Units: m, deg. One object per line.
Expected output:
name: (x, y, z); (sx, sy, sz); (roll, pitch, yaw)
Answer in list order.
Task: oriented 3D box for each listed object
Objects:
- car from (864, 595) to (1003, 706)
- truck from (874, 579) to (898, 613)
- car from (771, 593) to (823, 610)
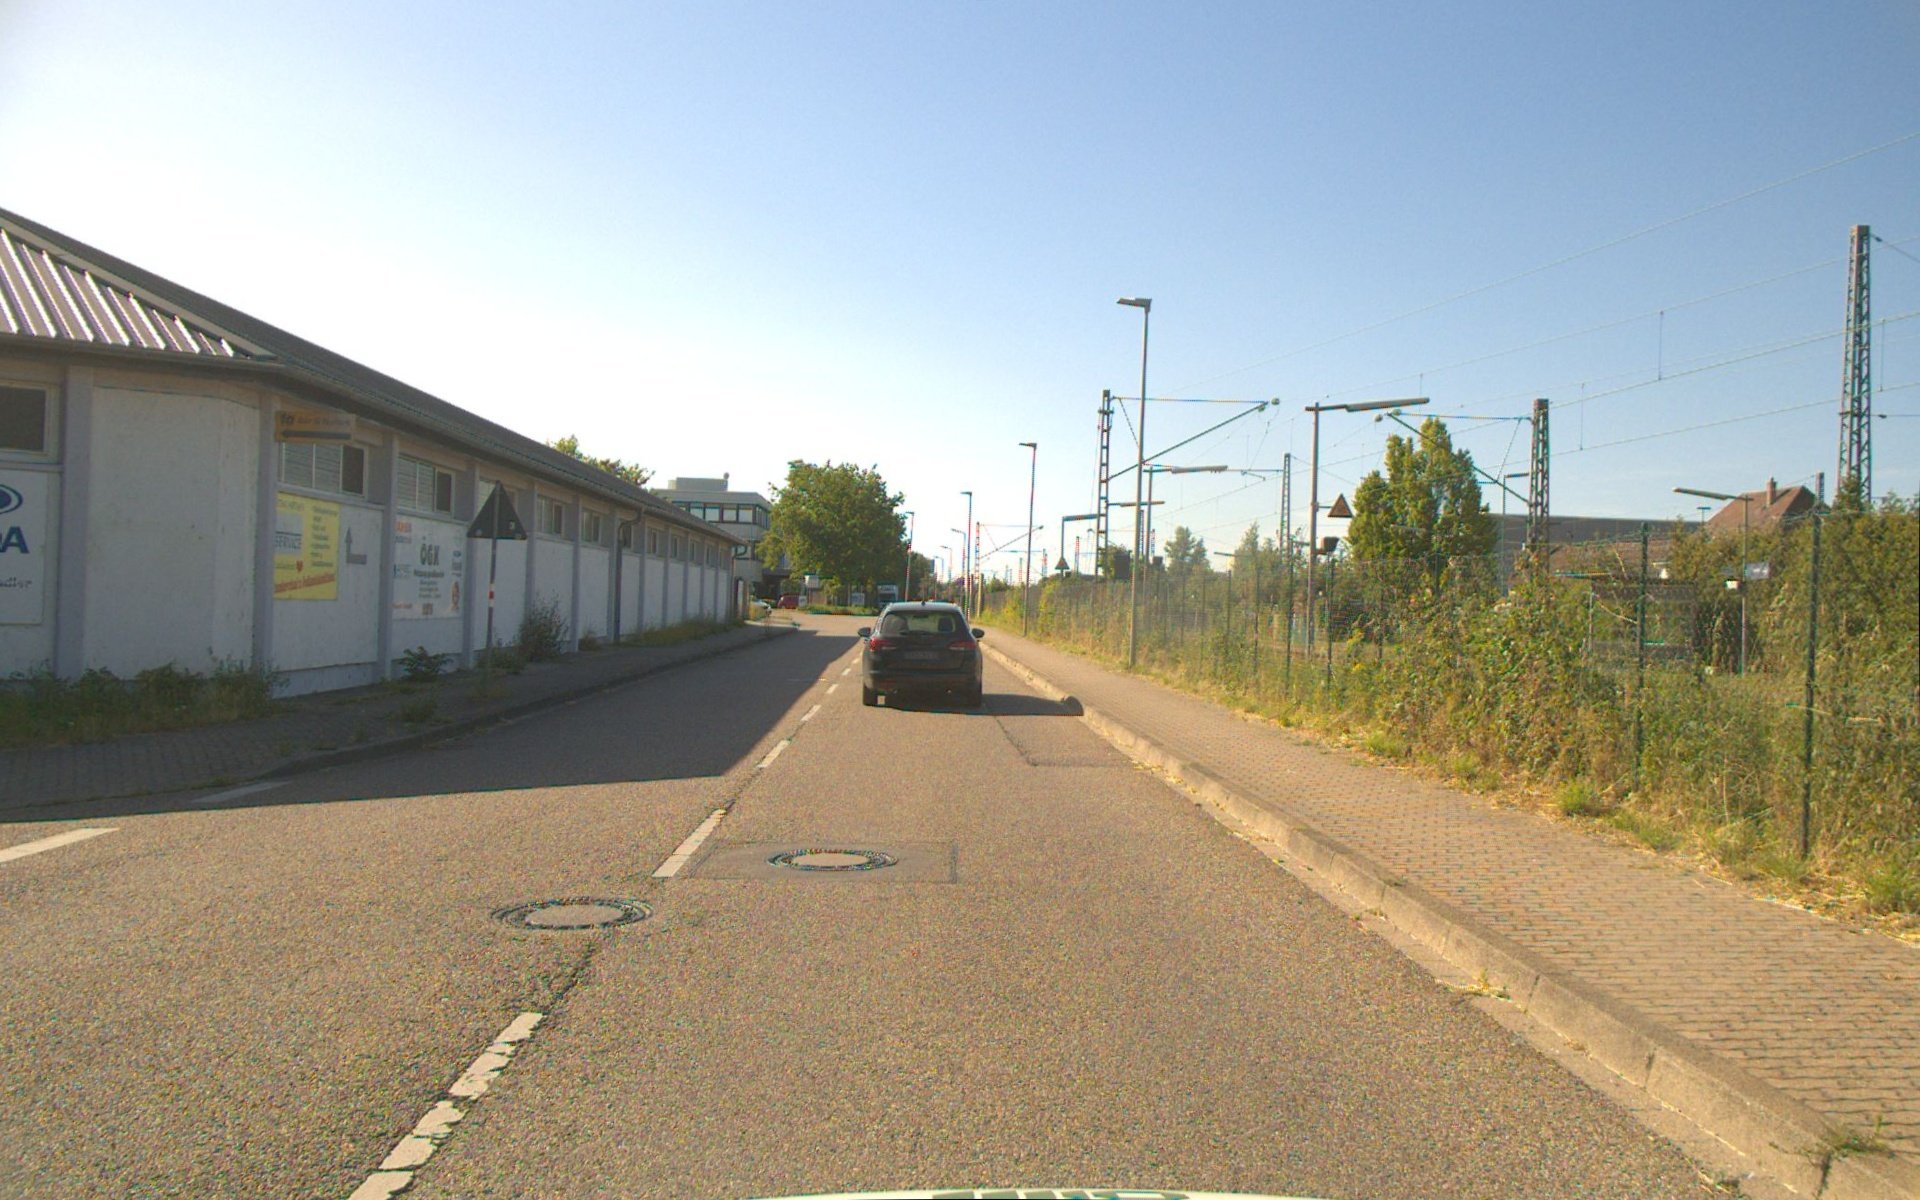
car: (-0.444, 0.709, 25.012); (1.903, 1.515, 4.563); (0, 0, -2)
truck: (-9.419, -0.495, 208.864); (2.561, 3.953, 13.522); (2, 0, -4)
car: (-16.175, 0.159, 164.299); (4.808, 1.510, 2.001); (2, 1, 2)
